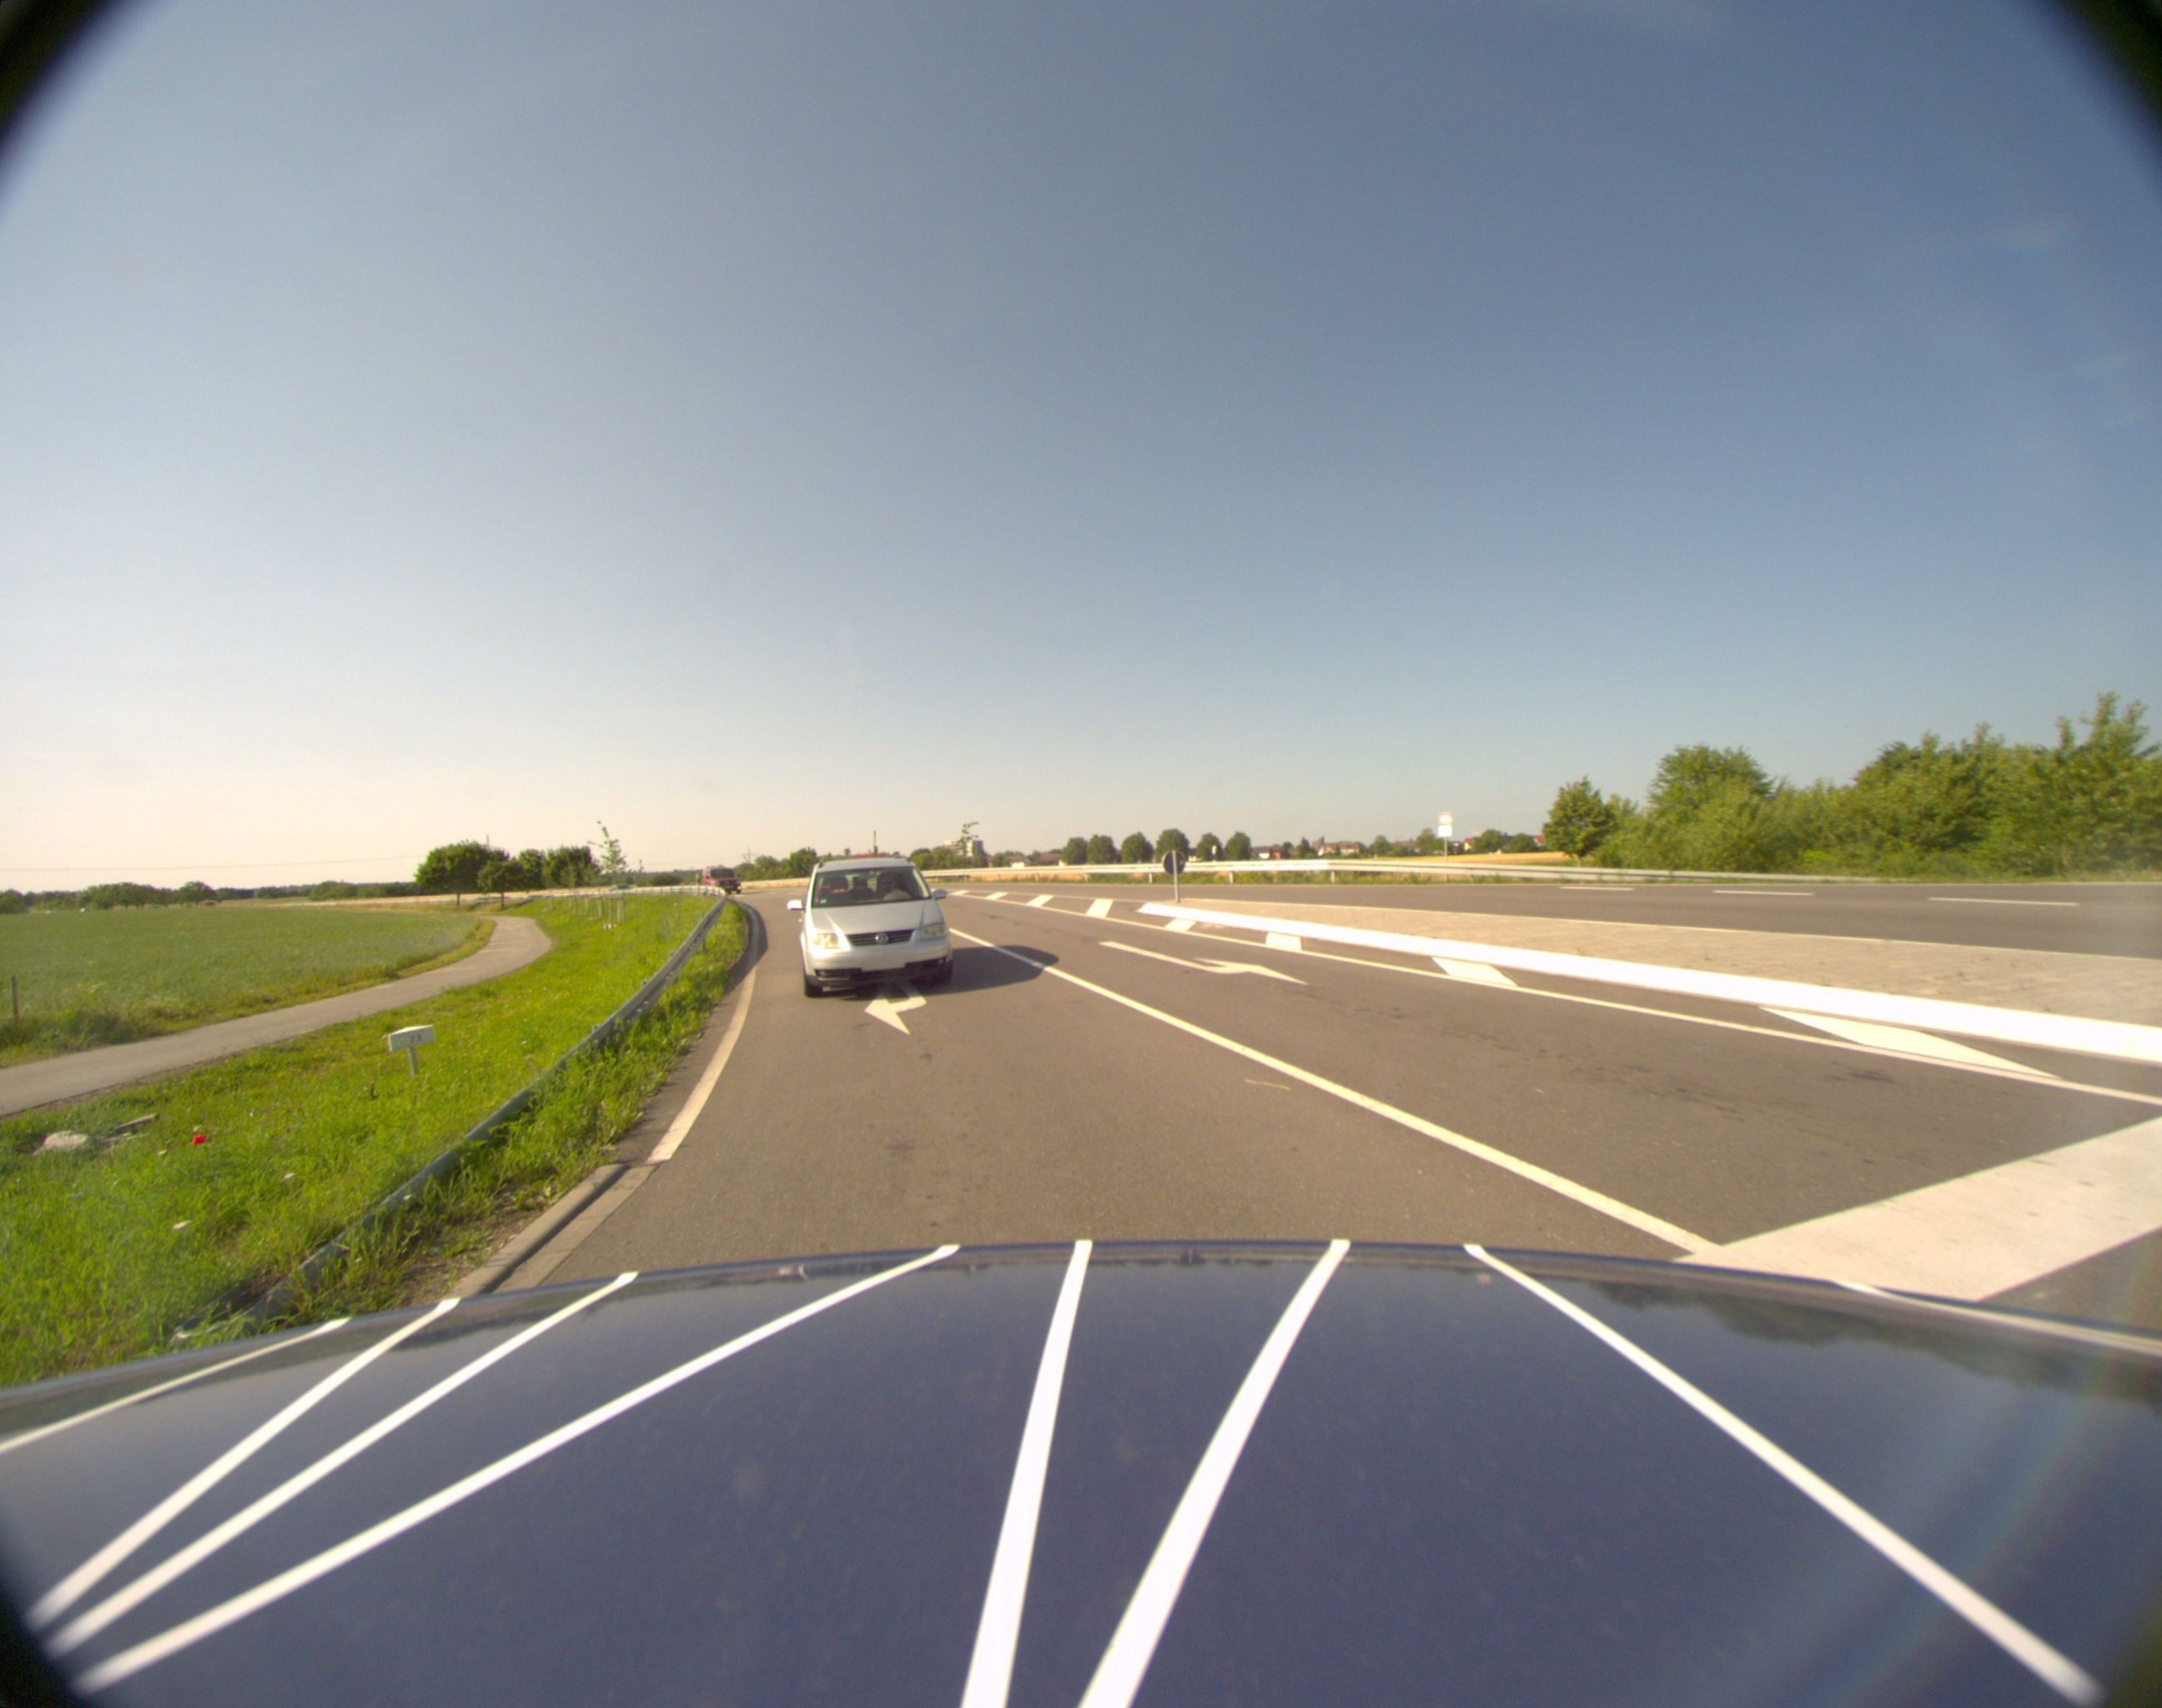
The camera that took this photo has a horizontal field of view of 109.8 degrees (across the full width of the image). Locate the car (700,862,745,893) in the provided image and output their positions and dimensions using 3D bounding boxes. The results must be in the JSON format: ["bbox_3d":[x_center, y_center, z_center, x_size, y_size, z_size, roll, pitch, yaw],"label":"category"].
[{"bbox_3d":[-22.956,1.523,48.545,1.696,1.826,4.687,-3,0,-36],"label":"car"}]

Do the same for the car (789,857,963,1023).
[{"bbox_3d":[-2.898,0.936,10.442,1.757,1.685,4.208,-4,1,-18],"label":"car"}]
